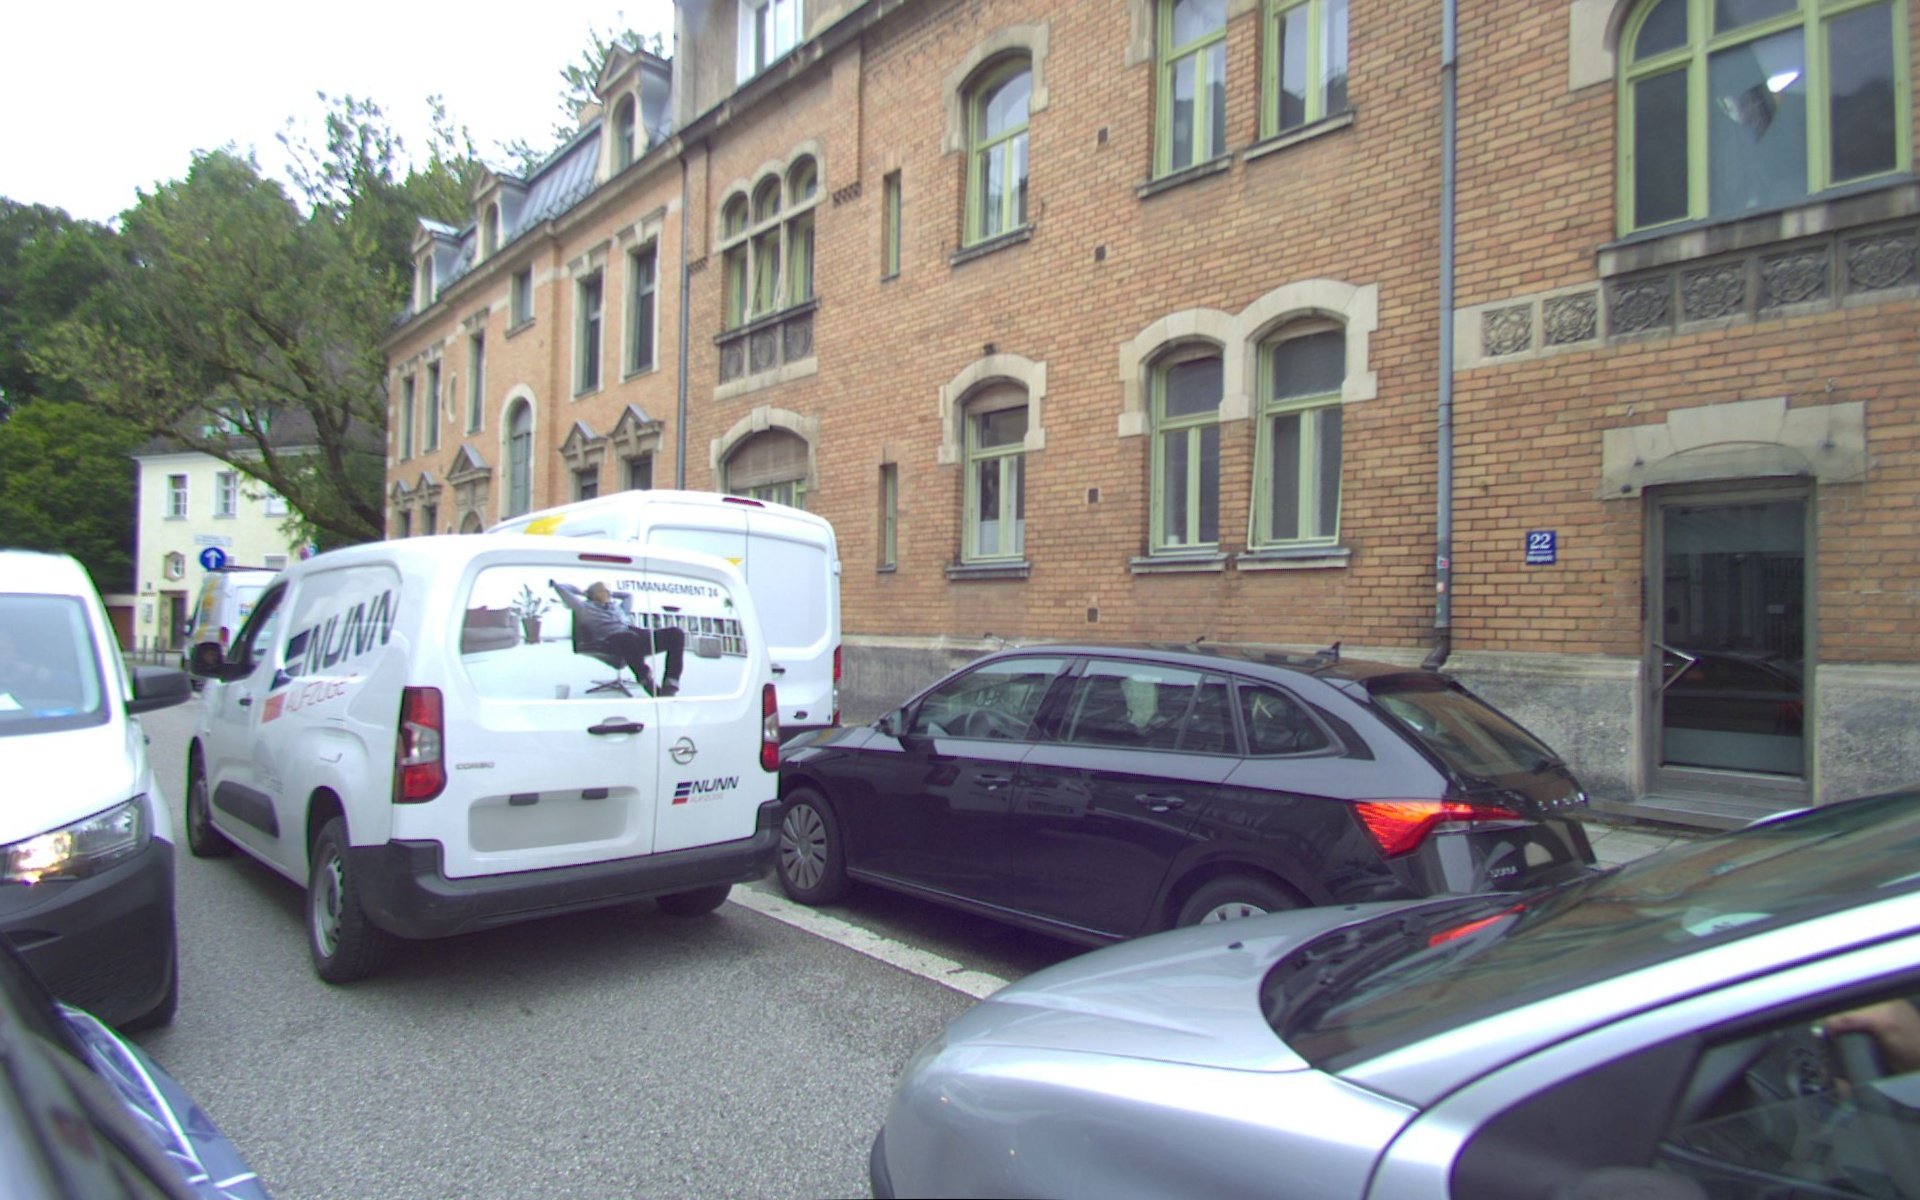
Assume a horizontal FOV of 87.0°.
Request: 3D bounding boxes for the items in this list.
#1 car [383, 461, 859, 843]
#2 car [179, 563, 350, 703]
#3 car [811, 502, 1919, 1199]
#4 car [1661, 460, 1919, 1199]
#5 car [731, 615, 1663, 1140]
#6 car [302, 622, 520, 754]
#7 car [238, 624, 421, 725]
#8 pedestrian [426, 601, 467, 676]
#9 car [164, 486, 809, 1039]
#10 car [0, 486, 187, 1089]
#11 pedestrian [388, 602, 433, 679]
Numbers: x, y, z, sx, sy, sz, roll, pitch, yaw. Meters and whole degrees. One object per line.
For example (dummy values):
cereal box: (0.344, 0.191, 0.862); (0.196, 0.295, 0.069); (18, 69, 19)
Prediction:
car: (-3.348, 0.409, 9.195); (1.958, 2.497, 5.227); (4, -4, -44)
car: (-14.351, 0.726, 20.779); (2.088, 2.560, 4.425); (6, -5, -43)
car: (1.576, 0.667, 0.802); (1.562, 1.422, 3.616); (3, -2, -43)
car: (3.809, 0.622, 1.665); (4.147, 1.817, 1.671); (-1, -4, 45)
car: (0.746, 0.844, 4.911); (1.670, 1.454, 4.148); (4, -4, -44)
car: (-7.135, 1.050, 13.012); (1.505, 1.454, 3.543); (5, -4, -44)
car: (-10.402, 1.156, 16.584); (1.670, 1.454, 3.987); (5, -4, -44)
pedestrian: (-11.507, 0.868, 22.693); (0.625, 1.645, 0.467); (5, -4, -44)
car: (-2.922, 0.585, 5.587); (1.751, 1.817, 4.574); (2, -2, -45)
car: (-4.541, 0.571, 4.154); (1.750, 1.785, 4.004); (2, -2, -43)
pedestrian: (-12.039, 0.896, 22.166); (0.625, 1.645, 0.676); (5, -4, -43)
